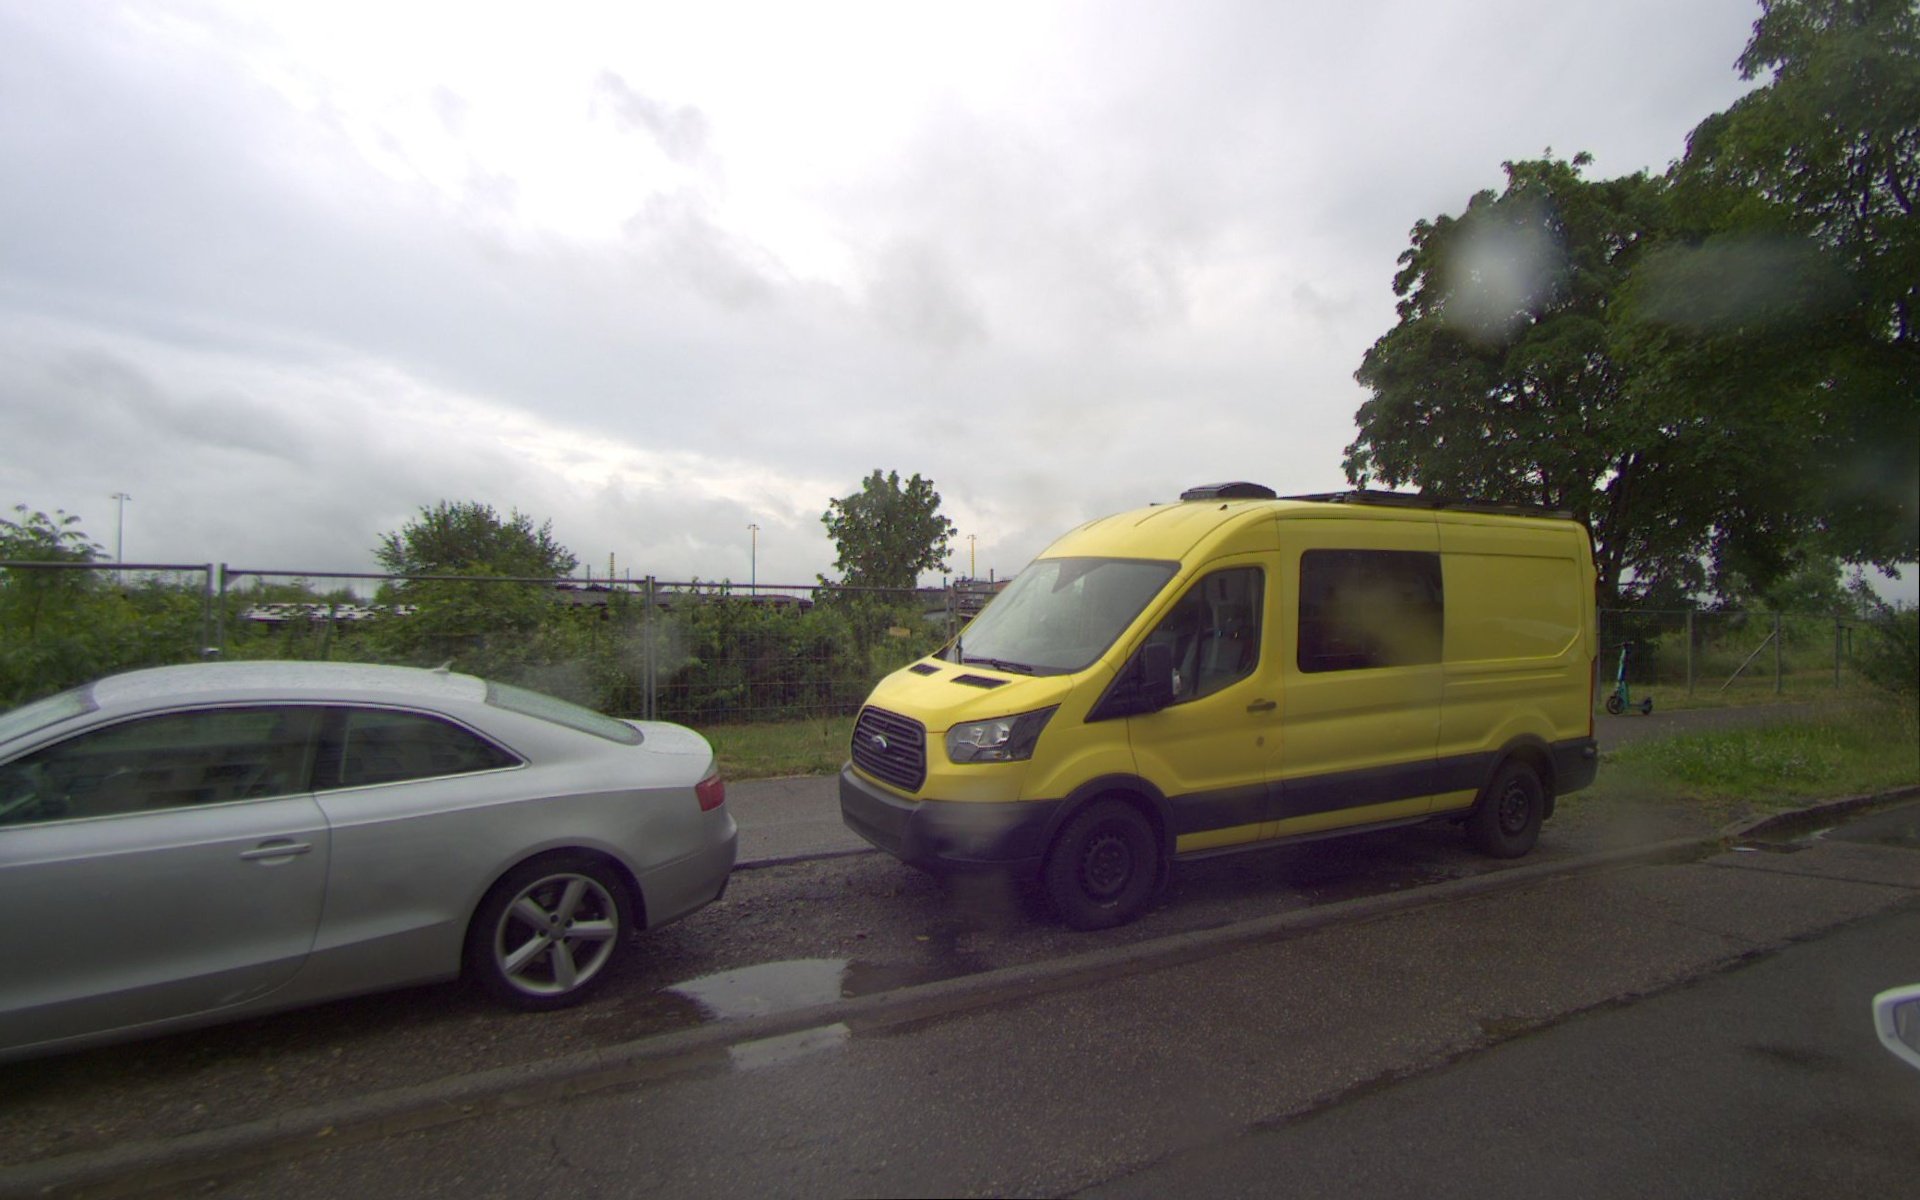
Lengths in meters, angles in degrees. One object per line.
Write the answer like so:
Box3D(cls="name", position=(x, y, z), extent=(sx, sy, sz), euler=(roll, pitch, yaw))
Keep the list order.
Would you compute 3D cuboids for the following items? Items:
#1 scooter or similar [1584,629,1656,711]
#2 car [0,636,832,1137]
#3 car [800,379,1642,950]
Box3D(cls="scooter or similar", position=(11.384, 1.190, 17.322), extent=(1.394, 1.357, 0.433), euler=(1, -3, -30))
Box3D(cls="car", position=(-3.349, 0.918, 4.010), extent=(5.278, 1.453, 2.000), euler=(2, 0, -31))
Box3D(cls="car", position=(2.086, 0.361, 7.232), extent=(6.007, 2.730, 2.182), euler=(1, 0, -29))
